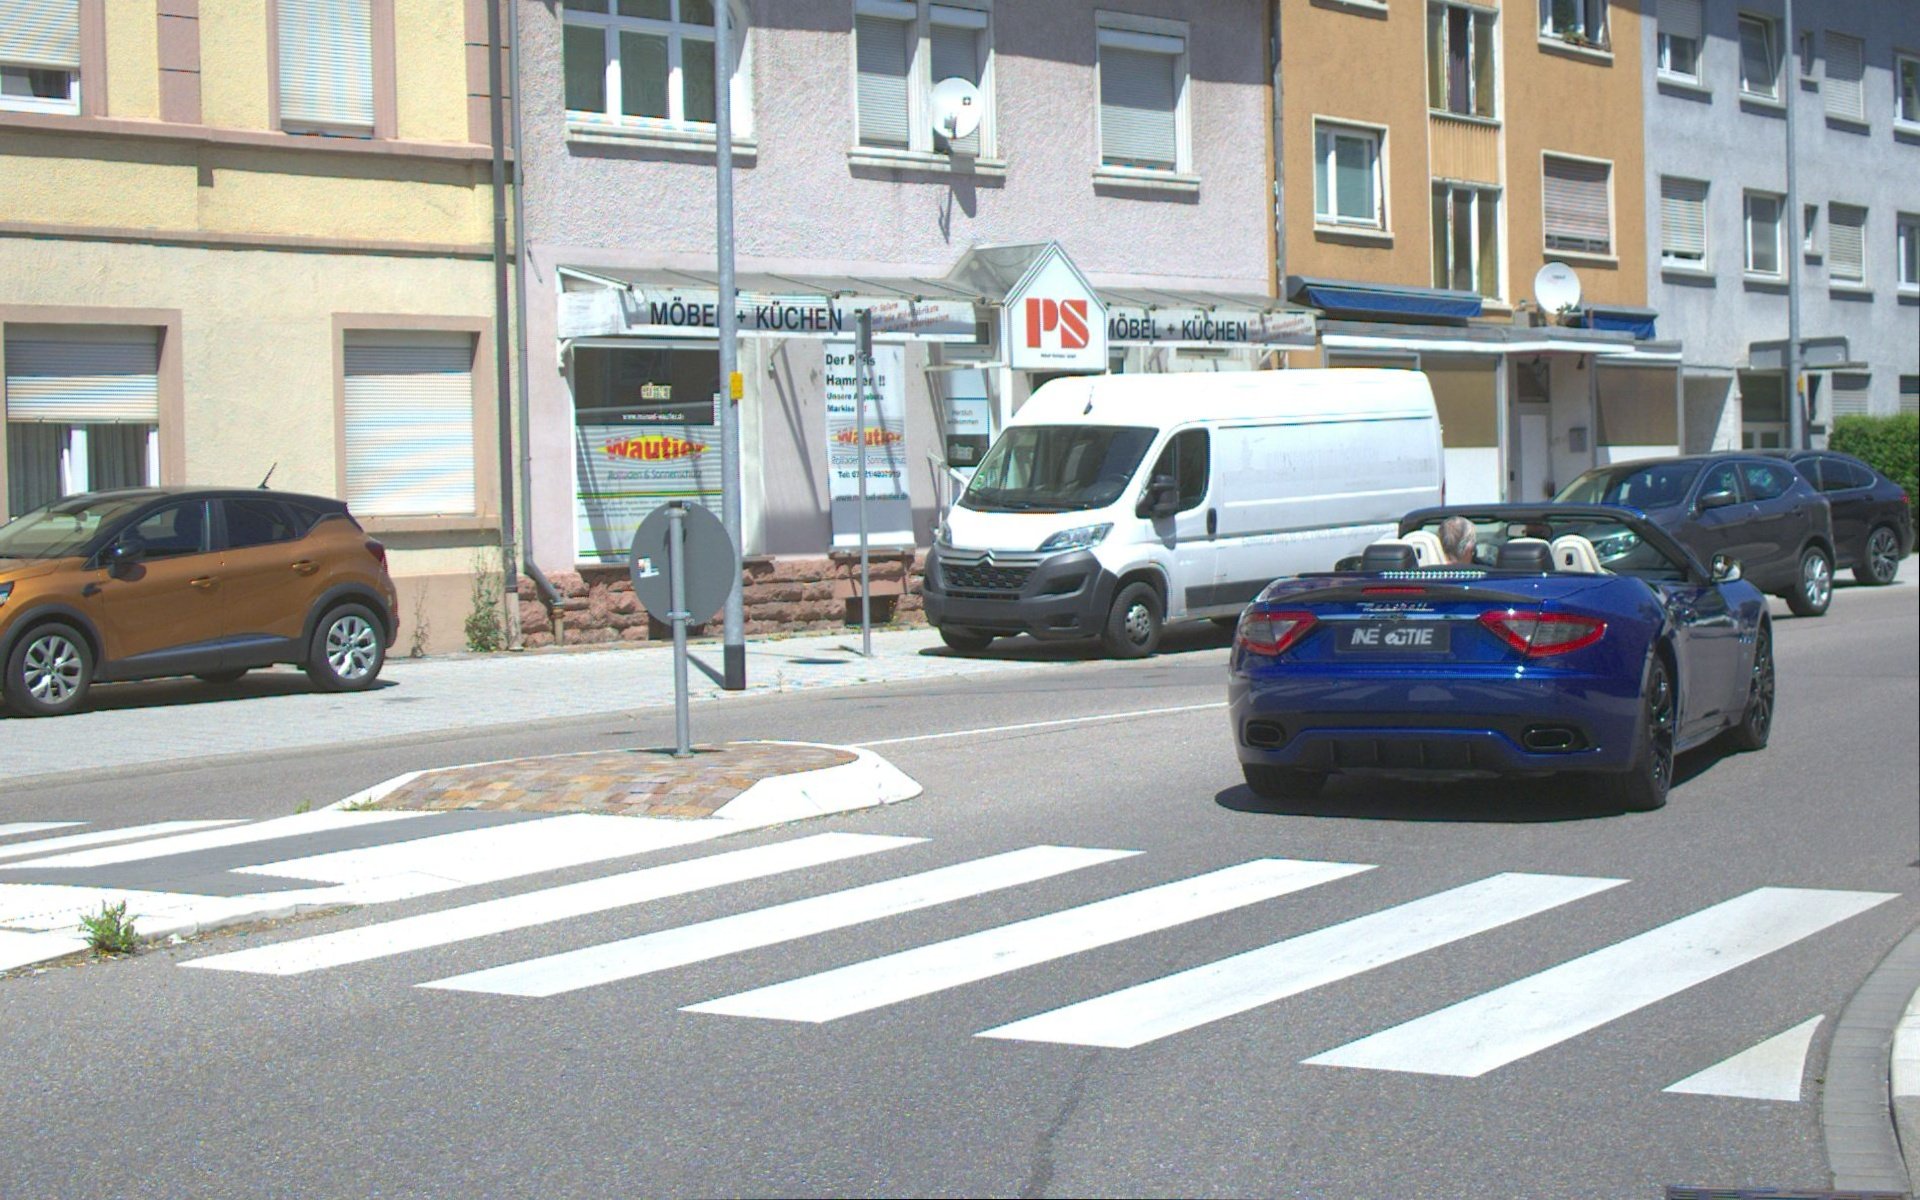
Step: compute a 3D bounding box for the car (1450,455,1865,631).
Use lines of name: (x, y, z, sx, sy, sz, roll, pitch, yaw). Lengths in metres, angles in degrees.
car: (6.481, -0.552, 31.631, 1.800, 1.484, 4.380, -1, 2, 41)

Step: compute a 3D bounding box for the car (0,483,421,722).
car: (-6.159, -0.039, 25.267, 1.799, 1.536, 4.106, 2, 4, 41)

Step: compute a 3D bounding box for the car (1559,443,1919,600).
car: (9.372, -0.965, 40.089, 5.095, 1.609, 2.091, -4, 5, -44)

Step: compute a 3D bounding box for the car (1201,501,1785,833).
car: (2.723, 0.204, 16.588, 1.872, 1.337, 4.591, 1, 2, 21)

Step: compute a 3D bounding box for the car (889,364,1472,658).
car: (2.168, -0.917, 31.591, 2.124, 2.440, 6.104, 2, 4, 40)
